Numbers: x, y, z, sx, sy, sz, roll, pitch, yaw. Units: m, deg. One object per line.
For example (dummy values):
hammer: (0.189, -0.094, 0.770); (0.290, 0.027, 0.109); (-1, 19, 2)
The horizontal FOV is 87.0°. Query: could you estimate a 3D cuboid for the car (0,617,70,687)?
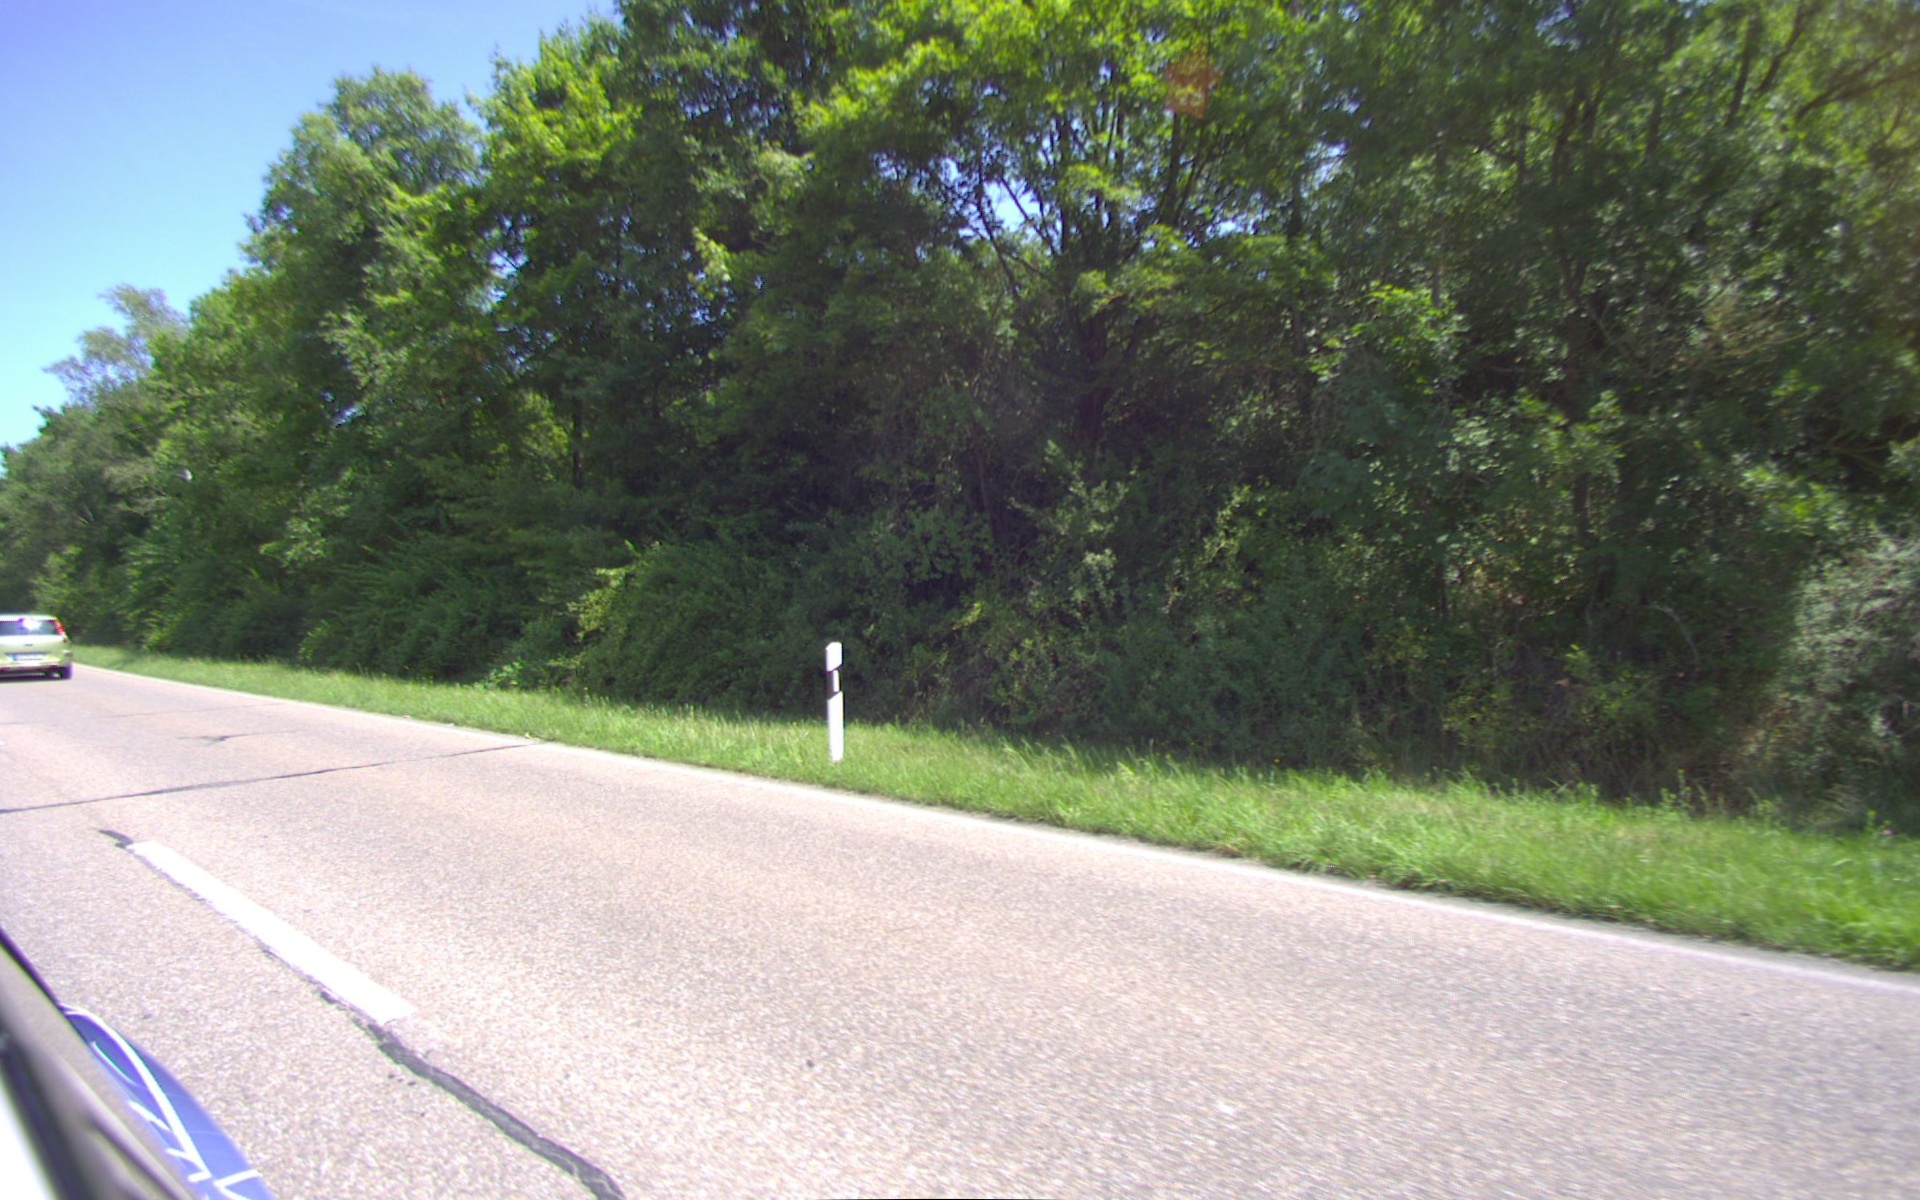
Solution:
car: (-21.979, 1.161, 23.406); (3.682, 1.507, 1.649); (-1, 0, 41)
